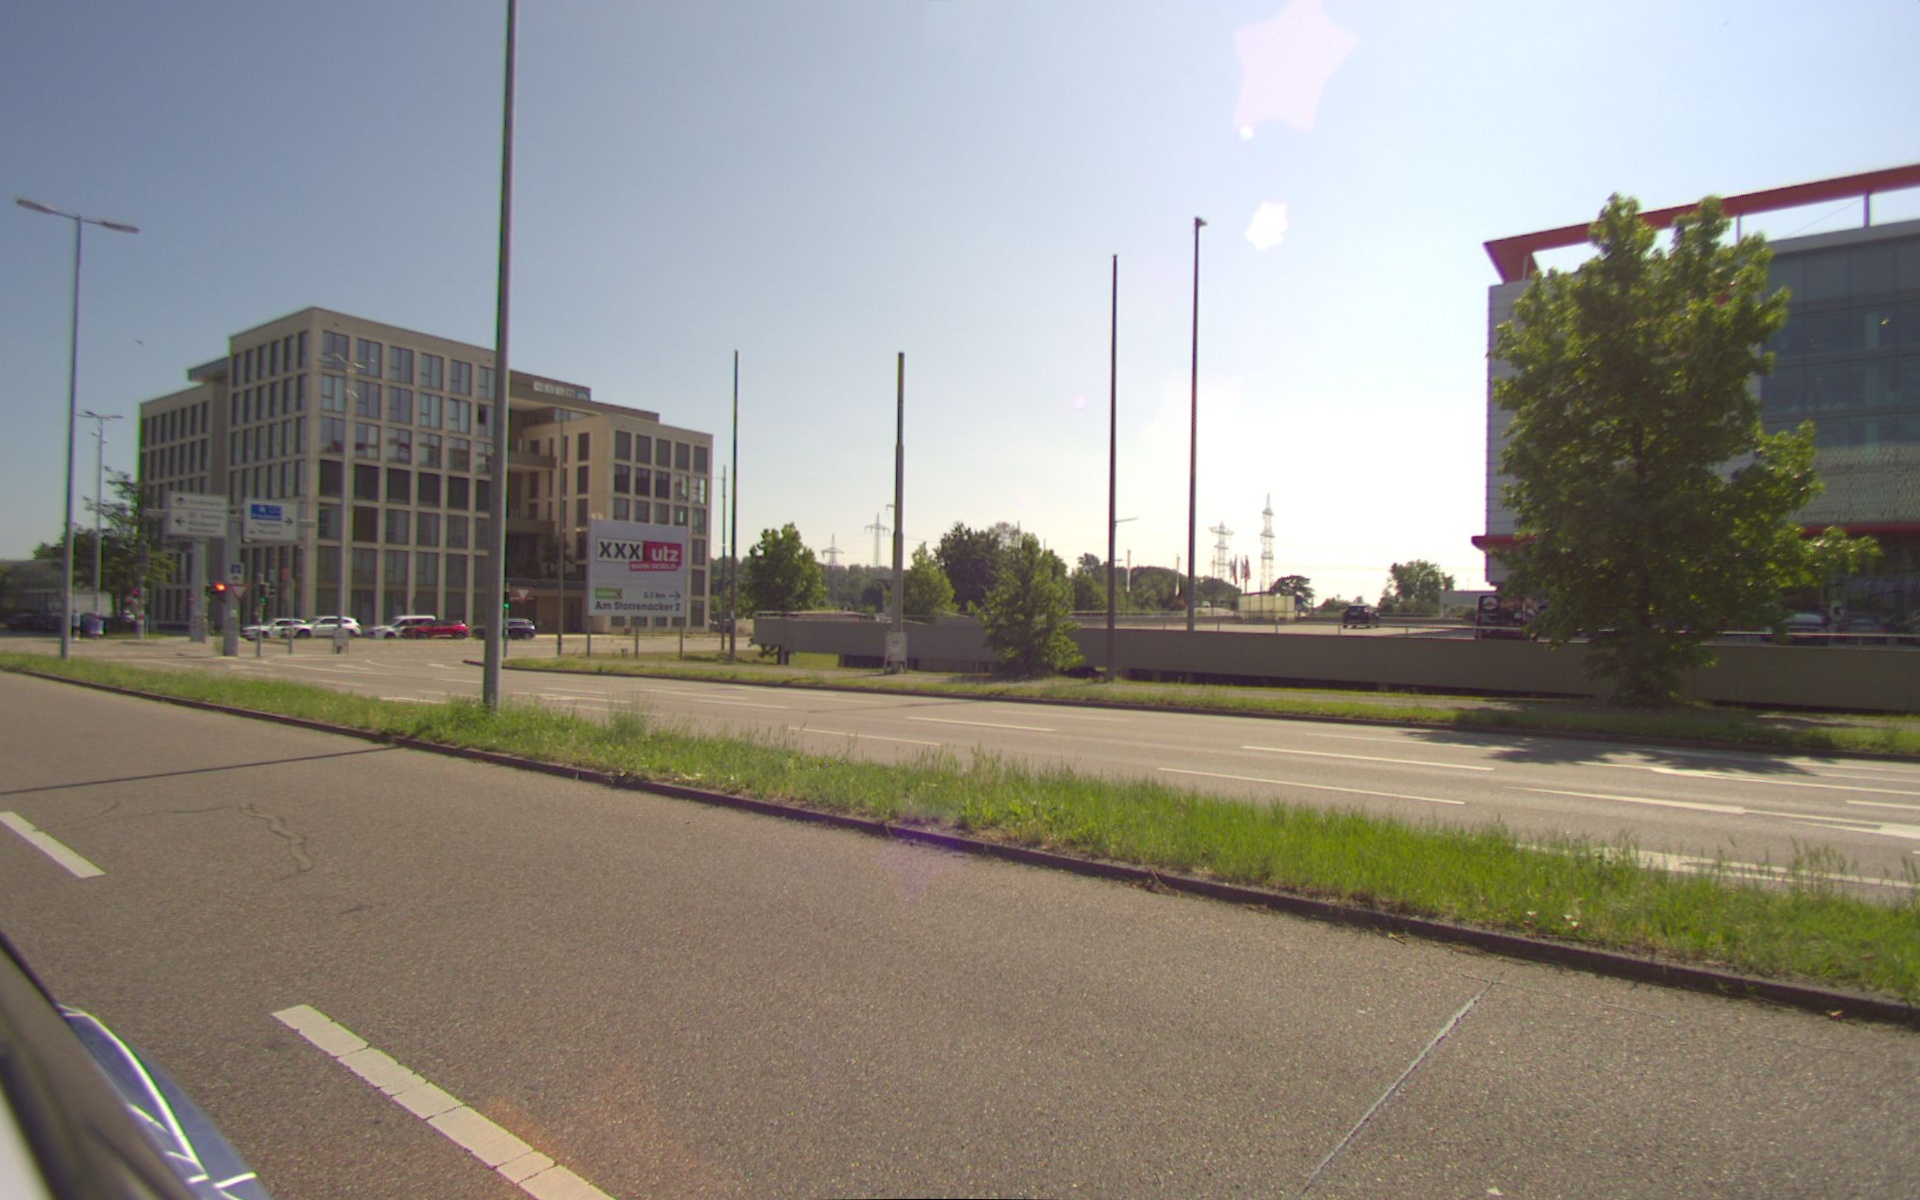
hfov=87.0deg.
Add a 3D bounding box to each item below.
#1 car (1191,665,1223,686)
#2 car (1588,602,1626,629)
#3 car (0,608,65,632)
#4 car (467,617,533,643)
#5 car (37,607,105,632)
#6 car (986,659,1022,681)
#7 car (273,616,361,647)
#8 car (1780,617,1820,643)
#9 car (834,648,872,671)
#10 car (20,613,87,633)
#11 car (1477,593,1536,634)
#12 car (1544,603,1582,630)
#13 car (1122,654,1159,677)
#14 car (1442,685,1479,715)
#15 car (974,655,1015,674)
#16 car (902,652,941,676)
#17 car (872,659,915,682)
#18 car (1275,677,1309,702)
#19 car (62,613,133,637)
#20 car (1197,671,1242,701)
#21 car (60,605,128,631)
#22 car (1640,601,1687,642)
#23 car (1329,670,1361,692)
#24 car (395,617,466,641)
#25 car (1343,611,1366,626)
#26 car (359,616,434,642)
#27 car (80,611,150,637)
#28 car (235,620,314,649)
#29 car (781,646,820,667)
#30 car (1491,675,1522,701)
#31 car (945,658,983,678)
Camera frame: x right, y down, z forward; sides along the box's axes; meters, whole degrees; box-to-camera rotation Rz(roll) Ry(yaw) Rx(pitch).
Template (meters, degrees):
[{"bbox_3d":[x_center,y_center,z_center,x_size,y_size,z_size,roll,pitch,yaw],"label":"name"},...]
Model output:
[{"bbox_3d":[13.362,4.046,54.683,1.068,0.982,1.921,1,-1,34],"label":"car"},{"bbox_3d":[33.649,0.805,52.626,1.512,1.340,3.060,1,-1,35],"label":"car"},{"bbox_3d":[-79.671,1.737,86.919,3.932,2.029,2.005,2,-2,-33],"label":"car"},{"bbox_3d":[-34.885,2.270,76.898,1.832,1.903,4.191,1,-1,37],"label":"car"},{"bbox_3d":[-73.561,1.614,83.838,3.933,2.029,2.005,2,-2,-34],"label":"car"},{"bbox_3d":[2.230,3.545,51.275,0.886,0.982,1.919,1,-1,36],"label":"car"},{"bbox_3d":[-40.607,1.984,63.982,2.020,1.852,4.265,1,-1,32],"label":"car"},{"bbox_3d":[35.490,1.283,42.790,1.068,0.983,1.921,1,-3,34],"label":"car"},{"bbox_3d":[-4.490,2.501,42.512,0.790,0.889,1.489,1,-1,34],"label":"car"},{"bbox_3d":[-76.889,1.966,85.923,3.932,1.627,2.005,2,-2,-33],"label":"car"},{"bbox_3d":[21.832,0.572,40.414,1.770,1.568,2.742,-1,-2,35],"label":"car"},{"bbox_3d":[31.705,0.866,53.168,1.512,1.340,2.985,1,-1,35],"label":"car"},{"bbox_3d":[8.625,3.109,48.294,1.068,0.982,1.921,1,-1,34],"label":"car"},{"bbox_3d":[19.836,3.954,40.099,1.068,0.982,1.921,1,-1,34],"label":"car"},{"bbox_3d":[1.320,2.425,38.105,0.856,0.625,1.546,1,-1,34],"label":"car"},{"bbox_3d":[-1.750,2.914,46.480,0.864,0.982,1.827,1,-1,33],"label":"car"},{"bbox_3d":[-3.134,3.325,47.777,1.069,1.016,1.920,-2,-3,35],"label":"car"},{"bbox_3d":[14.481,3.875,44.088,0.908,0.983,1.921,-2,-2,33],"label":"car"},{"bbox_3d":[-67.917,1.952,79.756,3.932,1.841,2.005,2,-2,-33],"label":"car"},{"bbox_3d":[9.737,3.204,37.885,1.068,0.982,1.921,1,-1,34],"label":"car"},{"bbox_3d":[-70.598,1.475,82.544,3.932,2.029,2.005,2,-2,-33],"label":"car"},{"bbox_3d":[31.974,0.972,46.001,1.689,1.771,3.060,1,-1,35],"label":"car"},{"bbox_3d":[19.190,4.027,50.437,1.068,0.982,1.921,1,-1,34],"label":"car"},{"bbox_3d":[-36.383,1.993,69.643,1.527,1.539,4.072,-1,-2,34],"label":"car"},{"bbox_3d":[26.850,1.251,68.893,1.068,0.982,1.921,1,-1,34],"label":"car"},{"bbox_3d":[-39.496,2.029,71.045,1.899,1.724,4.182,0,-2,34],"label":"car"},{"bbox_3d":[-64.646,1.814,77.449,3.940,1.751,2.002,5,-3,-44],"label":"car"},{"bbox_3d":[-43.859,2.172,64.807,1.827,1.725,3.727,1,-1,31],"label":"car"},{"bbox_3d":[-8.077,2.854,51.380,0.887,0.983,1.921,-5,-4,33],"label":"car"},{"bbox_3d":[24.911,3.990,46.120,1.068,0.982,1.921,1,-1,34],"label":"car"},{"bbox_3d":[0.217,3.533,52.810,1.069,0.983,1.920,-1,-3,35],"label":"car"}]
